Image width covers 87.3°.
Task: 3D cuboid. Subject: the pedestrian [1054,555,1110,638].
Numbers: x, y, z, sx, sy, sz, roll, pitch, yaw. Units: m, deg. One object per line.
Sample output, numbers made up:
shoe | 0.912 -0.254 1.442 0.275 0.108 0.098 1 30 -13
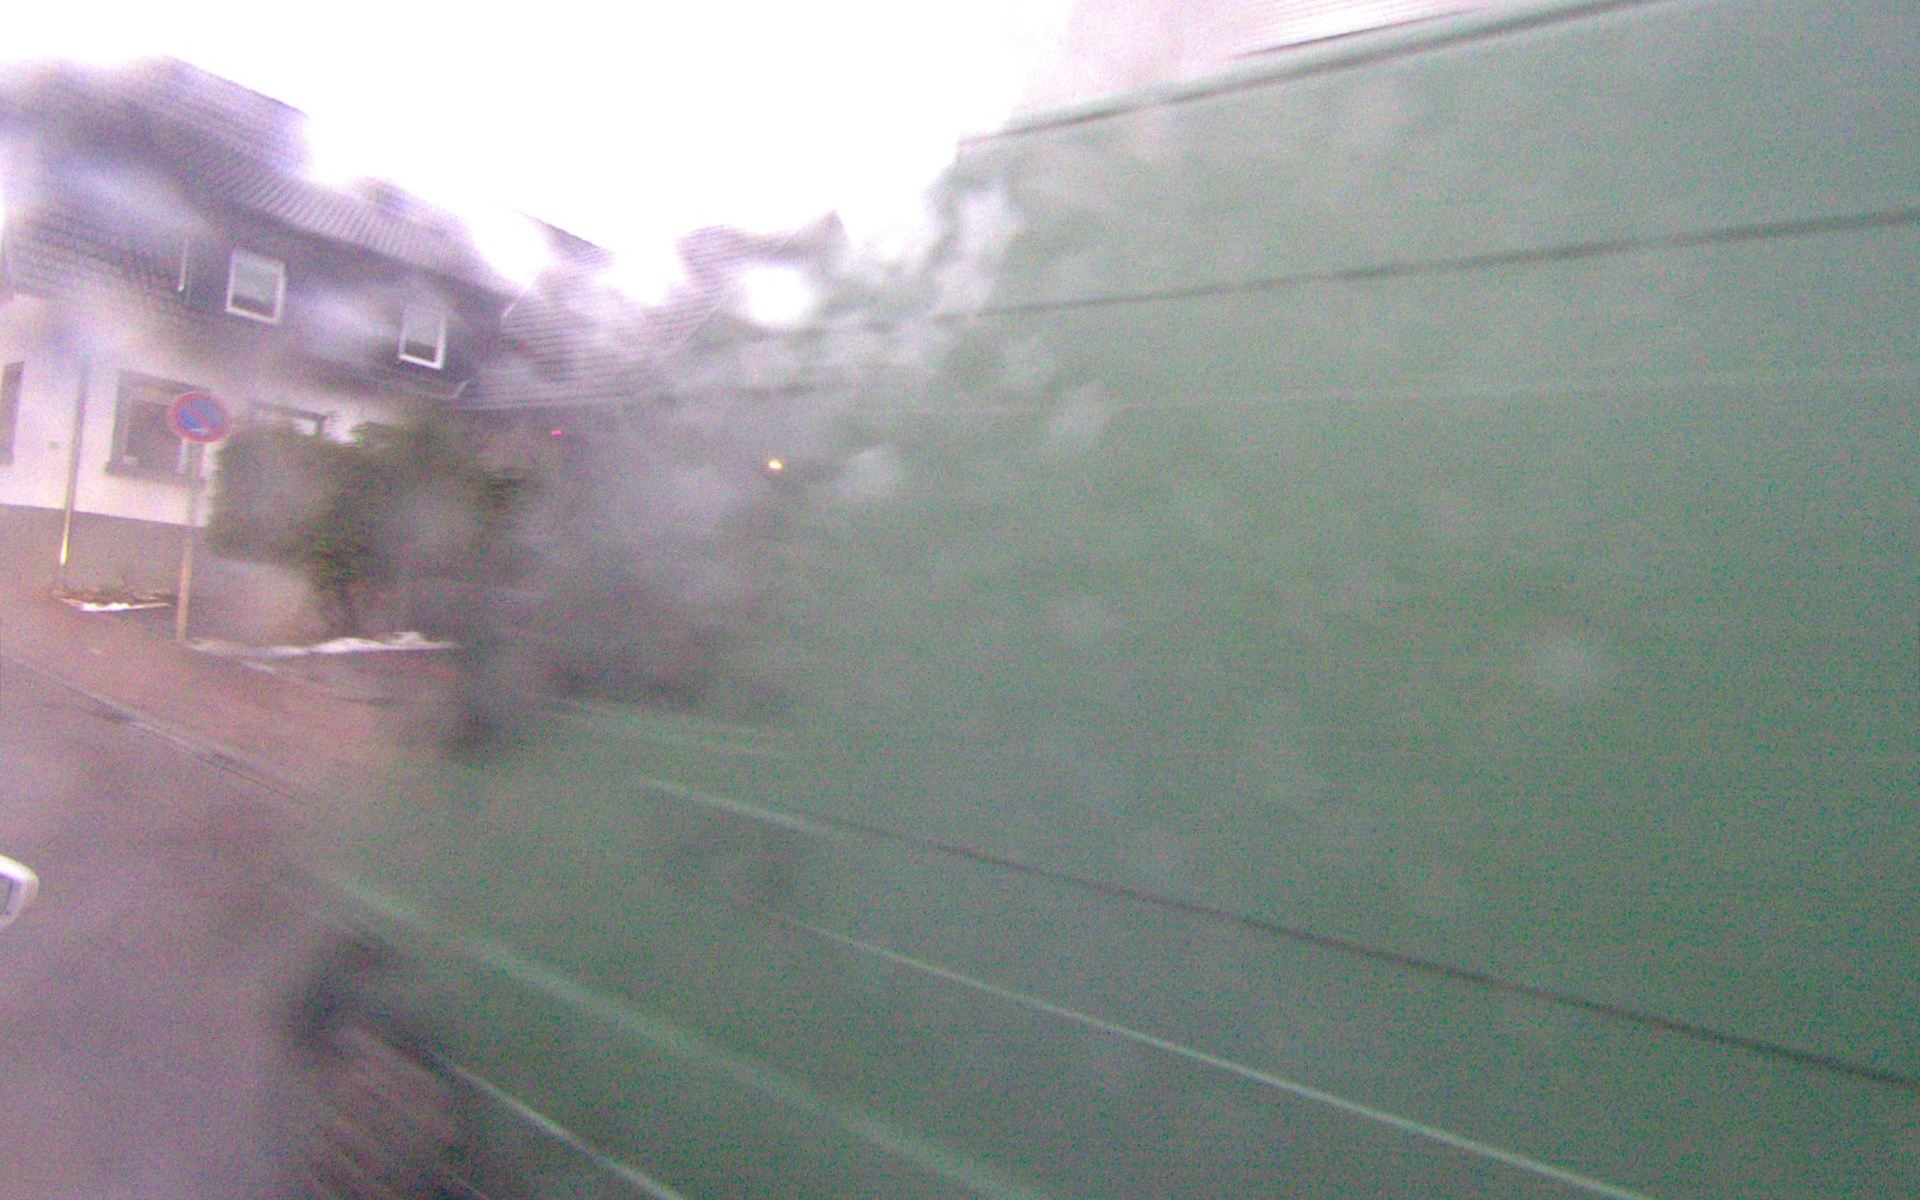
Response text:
pedestrian | 3.624 -0.104 29.921 1.214 2.326 0.997 7 3 24

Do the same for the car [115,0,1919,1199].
car | 0.806 0.450 1.939 5.524 2.482 2.012 7 -2 33
